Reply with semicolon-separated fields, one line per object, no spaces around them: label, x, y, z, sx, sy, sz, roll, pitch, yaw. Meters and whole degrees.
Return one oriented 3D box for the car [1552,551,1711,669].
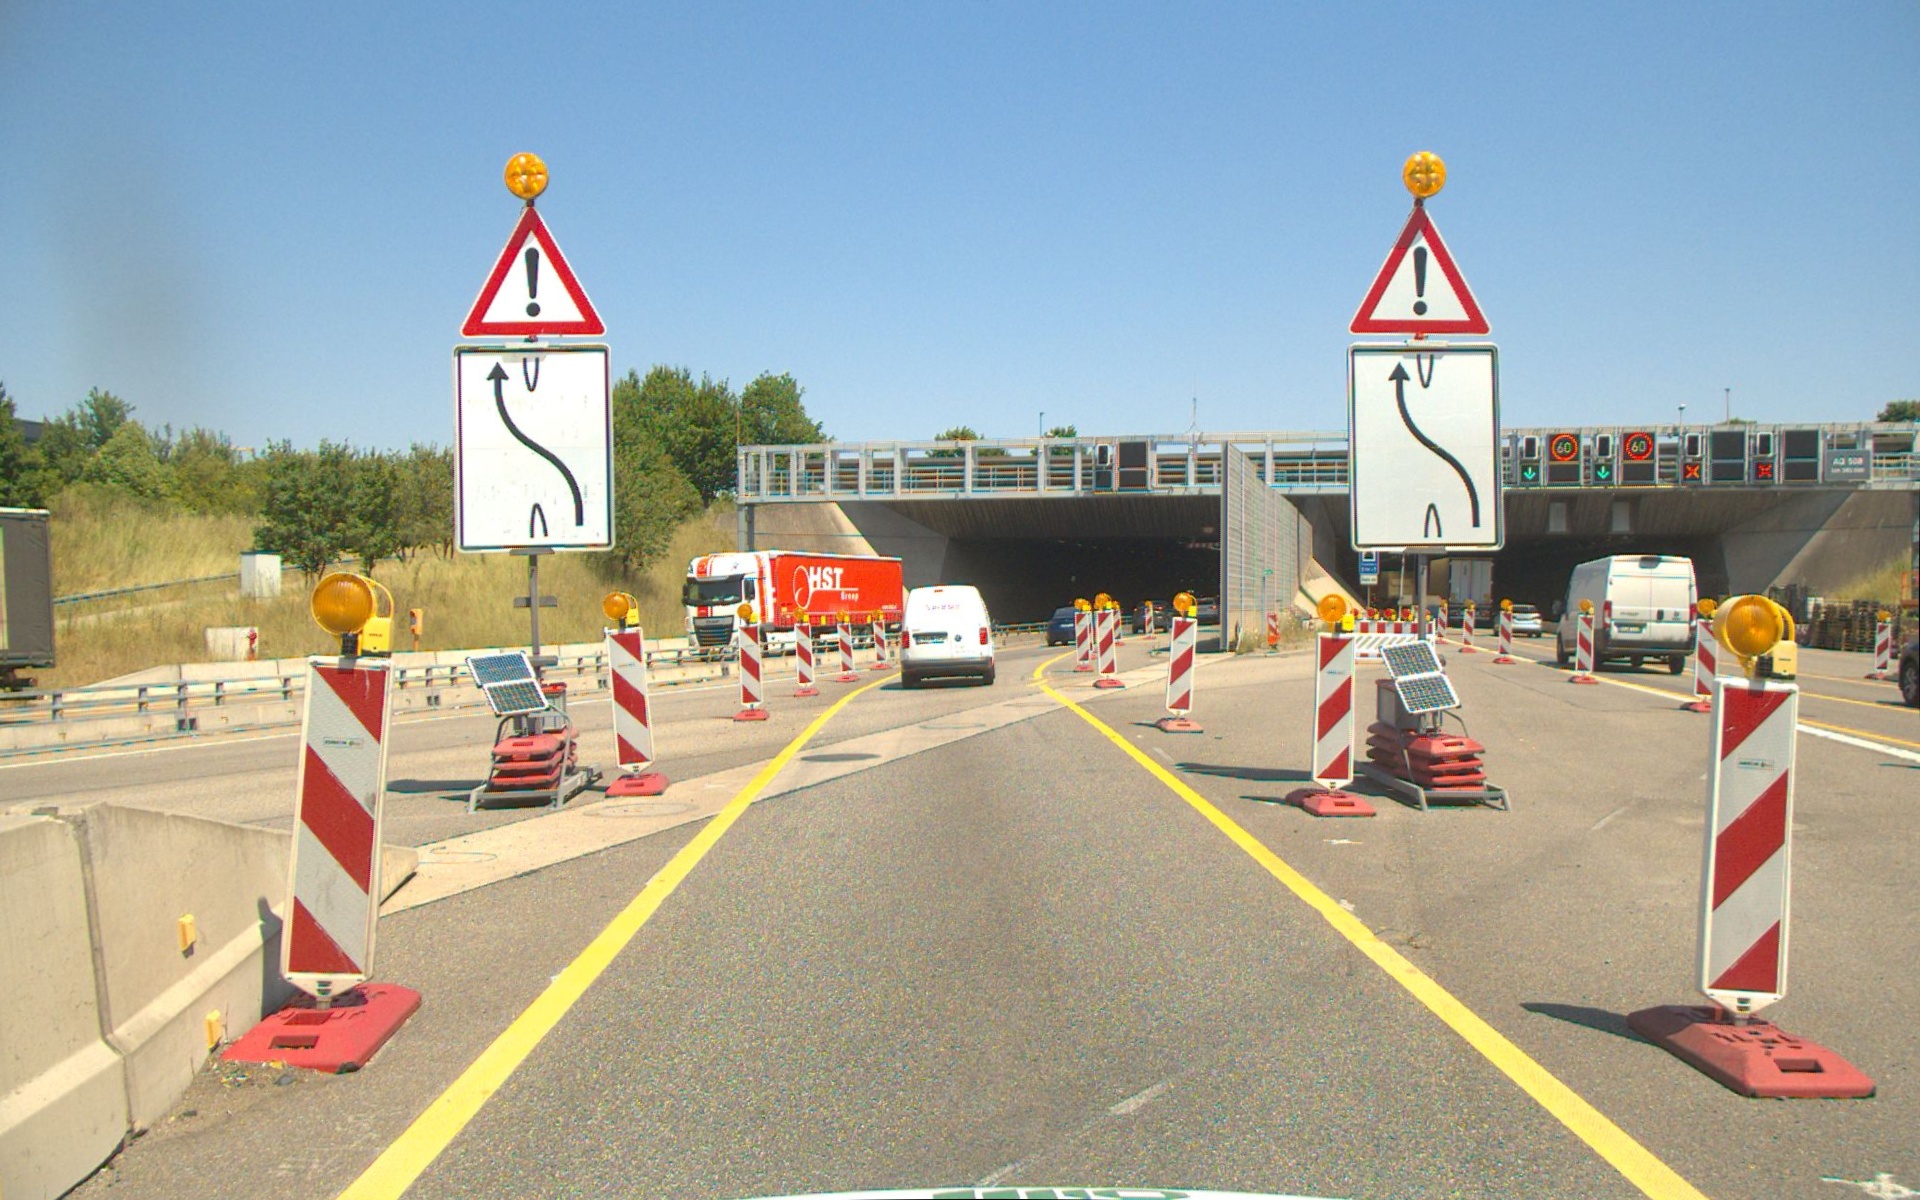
car;15.954;0.239;39.684;2.217;2.580;6.590;1;0;10

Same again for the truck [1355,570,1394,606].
truck;52.172;-1.437;208.680;3.329;4.142;16.549;1;0;9

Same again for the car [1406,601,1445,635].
car;24.784;0.964;88.148;1.776;1.671;4.656;1;0;13

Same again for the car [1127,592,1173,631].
car;9.559;0.567;82.904;1.770;1.847;4.413;-1;0;13

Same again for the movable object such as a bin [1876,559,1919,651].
movable object such as a bin;32.877;0.102;51.178;3.045;3.063;14.713;-1;-1;9

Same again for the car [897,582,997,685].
car;-0.218;0.612;31.604;1.771;1.825;3.731;-1;0;0

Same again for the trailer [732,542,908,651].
trailer;-5.625;-0.084;70.152;2.289;4.174;13.266;-1;-1;19

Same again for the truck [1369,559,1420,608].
truck;44.215;-1.556;168.788;3.329;4.411;16.548;2;-1;9

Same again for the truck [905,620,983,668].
truck;-0.672;1.918;72.807;1.952;1.906;4.763;-1;0;19

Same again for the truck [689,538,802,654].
truck;-8.087;-0.133;62.791;2.285;4.180;5.019;-1;-1;18

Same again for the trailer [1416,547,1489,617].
trailer;31.341;-1.028;105.807;2.674;4.133;14.106;1;0;10

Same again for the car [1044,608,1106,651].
car;4.483;1.124;64.040;1.770;1.564;4.413;-1;0;12

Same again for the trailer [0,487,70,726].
trailer;-20.544;0.122;25.639;2.385;4.372;13.812;-1;0;20

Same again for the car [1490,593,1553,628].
car;25.576;0.484;75.487;1.776;1.490;4.656;1;0;7

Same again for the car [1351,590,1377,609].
car;37.445;-0.014;153.255;1.776;1.658;4.193;1;0;6

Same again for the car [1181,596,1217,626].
car;14.448;0.659;99.870;1.770;1.781;4.413;-1;0;13

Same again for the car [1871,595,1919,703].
car;16.015;0.781;25.243;1.976;1.692;5.241;1;0;8
